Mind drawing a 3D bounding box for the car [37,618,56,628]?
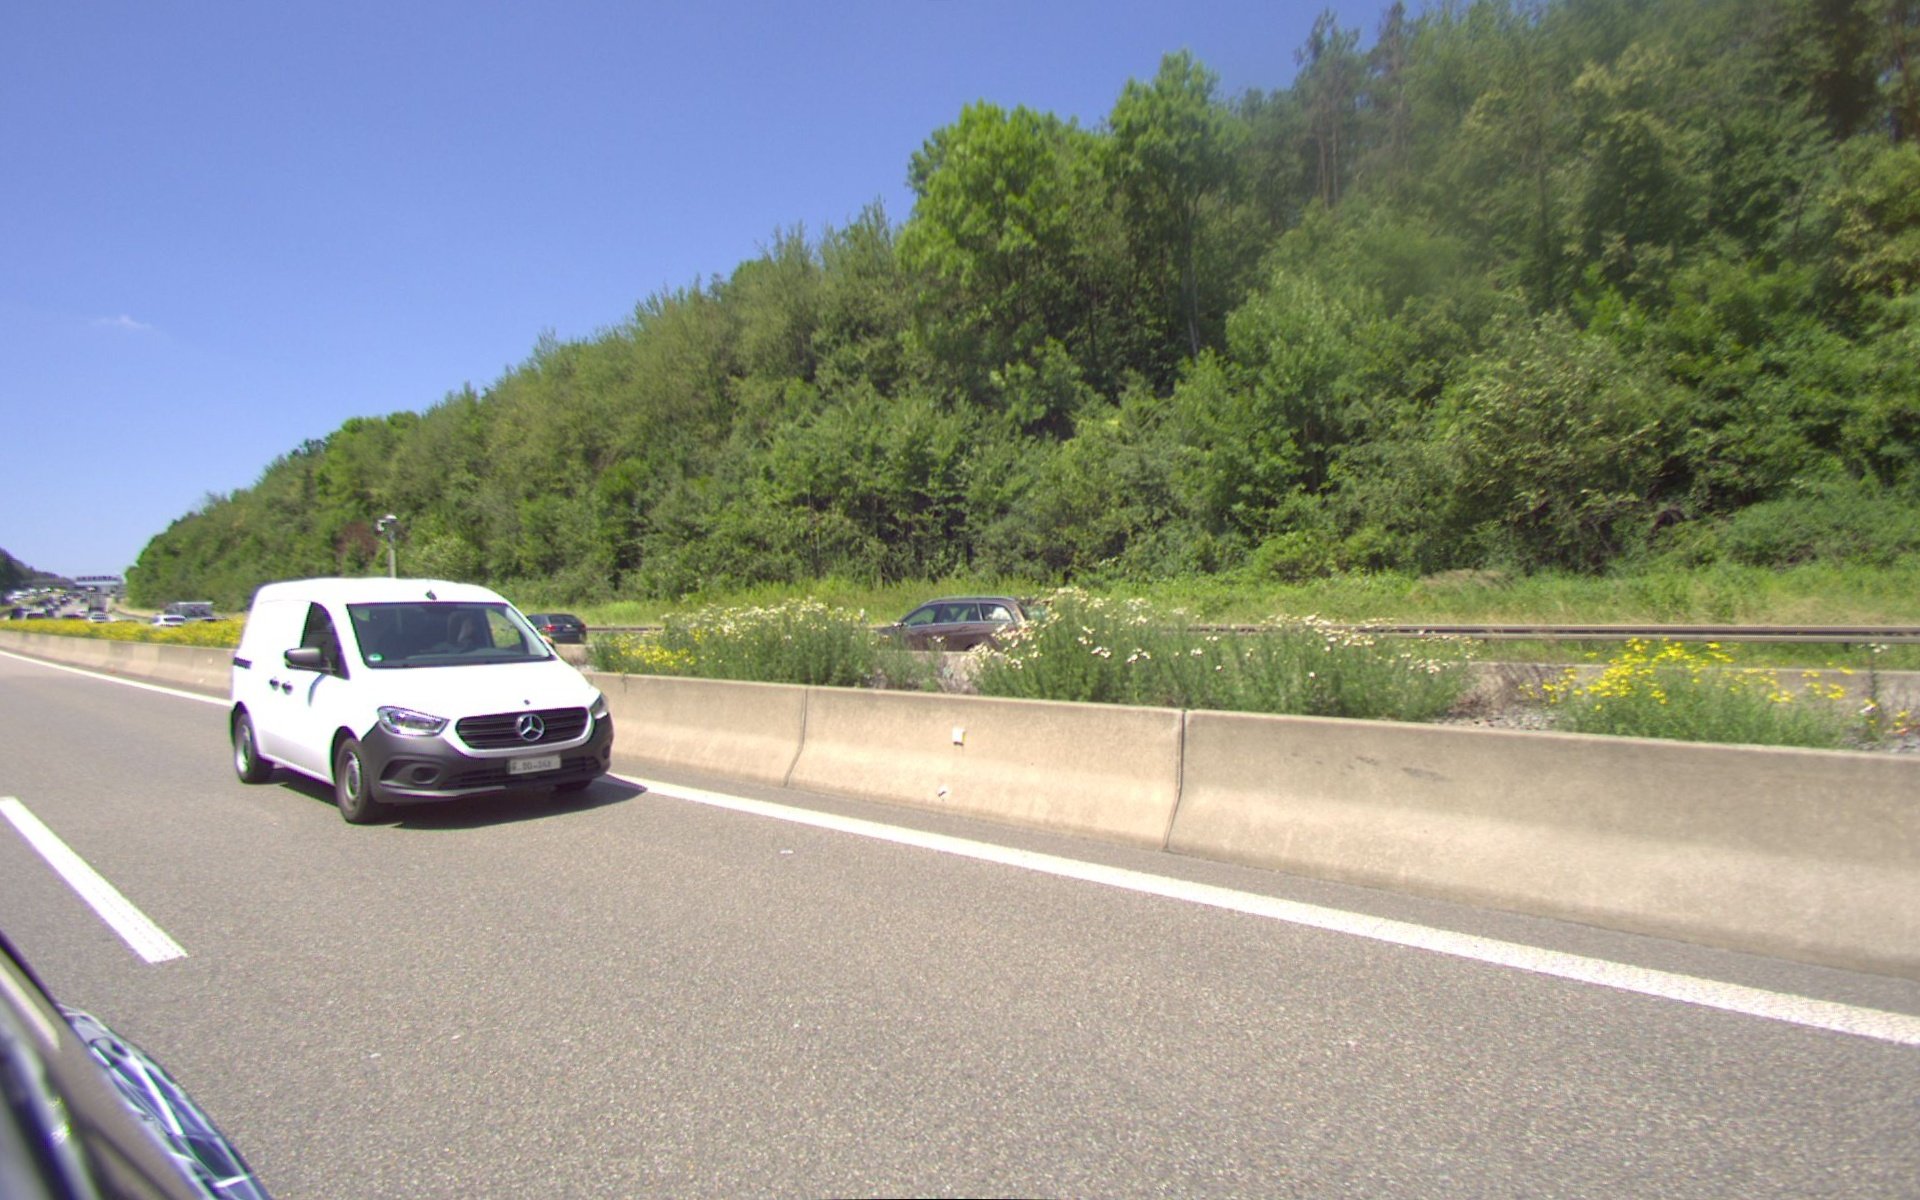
[{"bbox_3d":[-146.385,3.678,162.142,4.002,1.497,1.971,0,0,45],"label":"car"}]

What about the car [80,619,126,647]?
[{"bbox_3d":[-47.771,1.821,56.398,3.563,1.453,1.462,0,0,42],"label":"car"}]

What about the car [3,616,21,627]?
[{"bbox_3d":[-144.112,3.259,153.799,1.970,1.484,4.878,0,0,-44],"label":"car"}]

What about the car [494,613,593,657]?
[{"bbox_3d":[-15.165,1.237,36.792,3.998,1.467,1.769,0,0,41],"label":"car"}]

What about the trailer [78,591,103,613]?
[{"bbox_3d":[-177.023,0.374,206.029,13.937,4.239,2.684,0,0,44],"label":"trailer"}]

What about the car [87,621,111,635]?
[{"bbox_3d":[-107.870,3.503,126.794,1.971,1.629,4.486,0,-1,-45],"label":"car"}]

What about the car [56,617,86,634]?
[{"bbox_3d":[-95.026,2.690,108.132,4.400,1.703,1.972,0,0,42],"label":"car"}]

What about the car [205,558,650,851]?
[{"bbox_3d":[-4.672,0.690,8.515,4.671,1.826,1.747,-1,-1,41],"label":"car"}]

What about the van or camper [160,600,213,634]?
[{"bbox_3d":[-61.079,1.261,79.862,6.932,2.580,2.162,0,0,43],"label":"van or camper"}]

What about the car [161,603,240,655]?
[{"bbox_3d":[-31.341,1.145,41.736,4.001,2.029,1.971,0,0,43],"label":"car"}]

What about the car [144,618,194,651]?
[{"bbox_3d":[-51.647,2.222,66.056,4.568,2.029,1.971,0,0,44],"label":"car"}]

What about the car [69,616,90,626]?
[{"bbox_3d":[-138.849,3.323,159.593,4.171,1.453,1.972,0,0,43],"label":"car"}]

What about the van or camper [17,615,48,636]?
[{"bbox_3d":[-94.709,2.550,103.364,4.586,2.029,1.863,0,0,41],"label":"van or camper"}]

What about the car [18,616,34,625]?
[{"bbox_3d":[-168.447,3.676,182.455,4.002,1.497,1.971,0,0,45],"label":"car"}]

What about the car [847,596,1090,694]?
[{"bbox_3d":[0.074,0.774,18.750,4.271,1.599,1.972,-1,-1,42],"label":"car"}]
